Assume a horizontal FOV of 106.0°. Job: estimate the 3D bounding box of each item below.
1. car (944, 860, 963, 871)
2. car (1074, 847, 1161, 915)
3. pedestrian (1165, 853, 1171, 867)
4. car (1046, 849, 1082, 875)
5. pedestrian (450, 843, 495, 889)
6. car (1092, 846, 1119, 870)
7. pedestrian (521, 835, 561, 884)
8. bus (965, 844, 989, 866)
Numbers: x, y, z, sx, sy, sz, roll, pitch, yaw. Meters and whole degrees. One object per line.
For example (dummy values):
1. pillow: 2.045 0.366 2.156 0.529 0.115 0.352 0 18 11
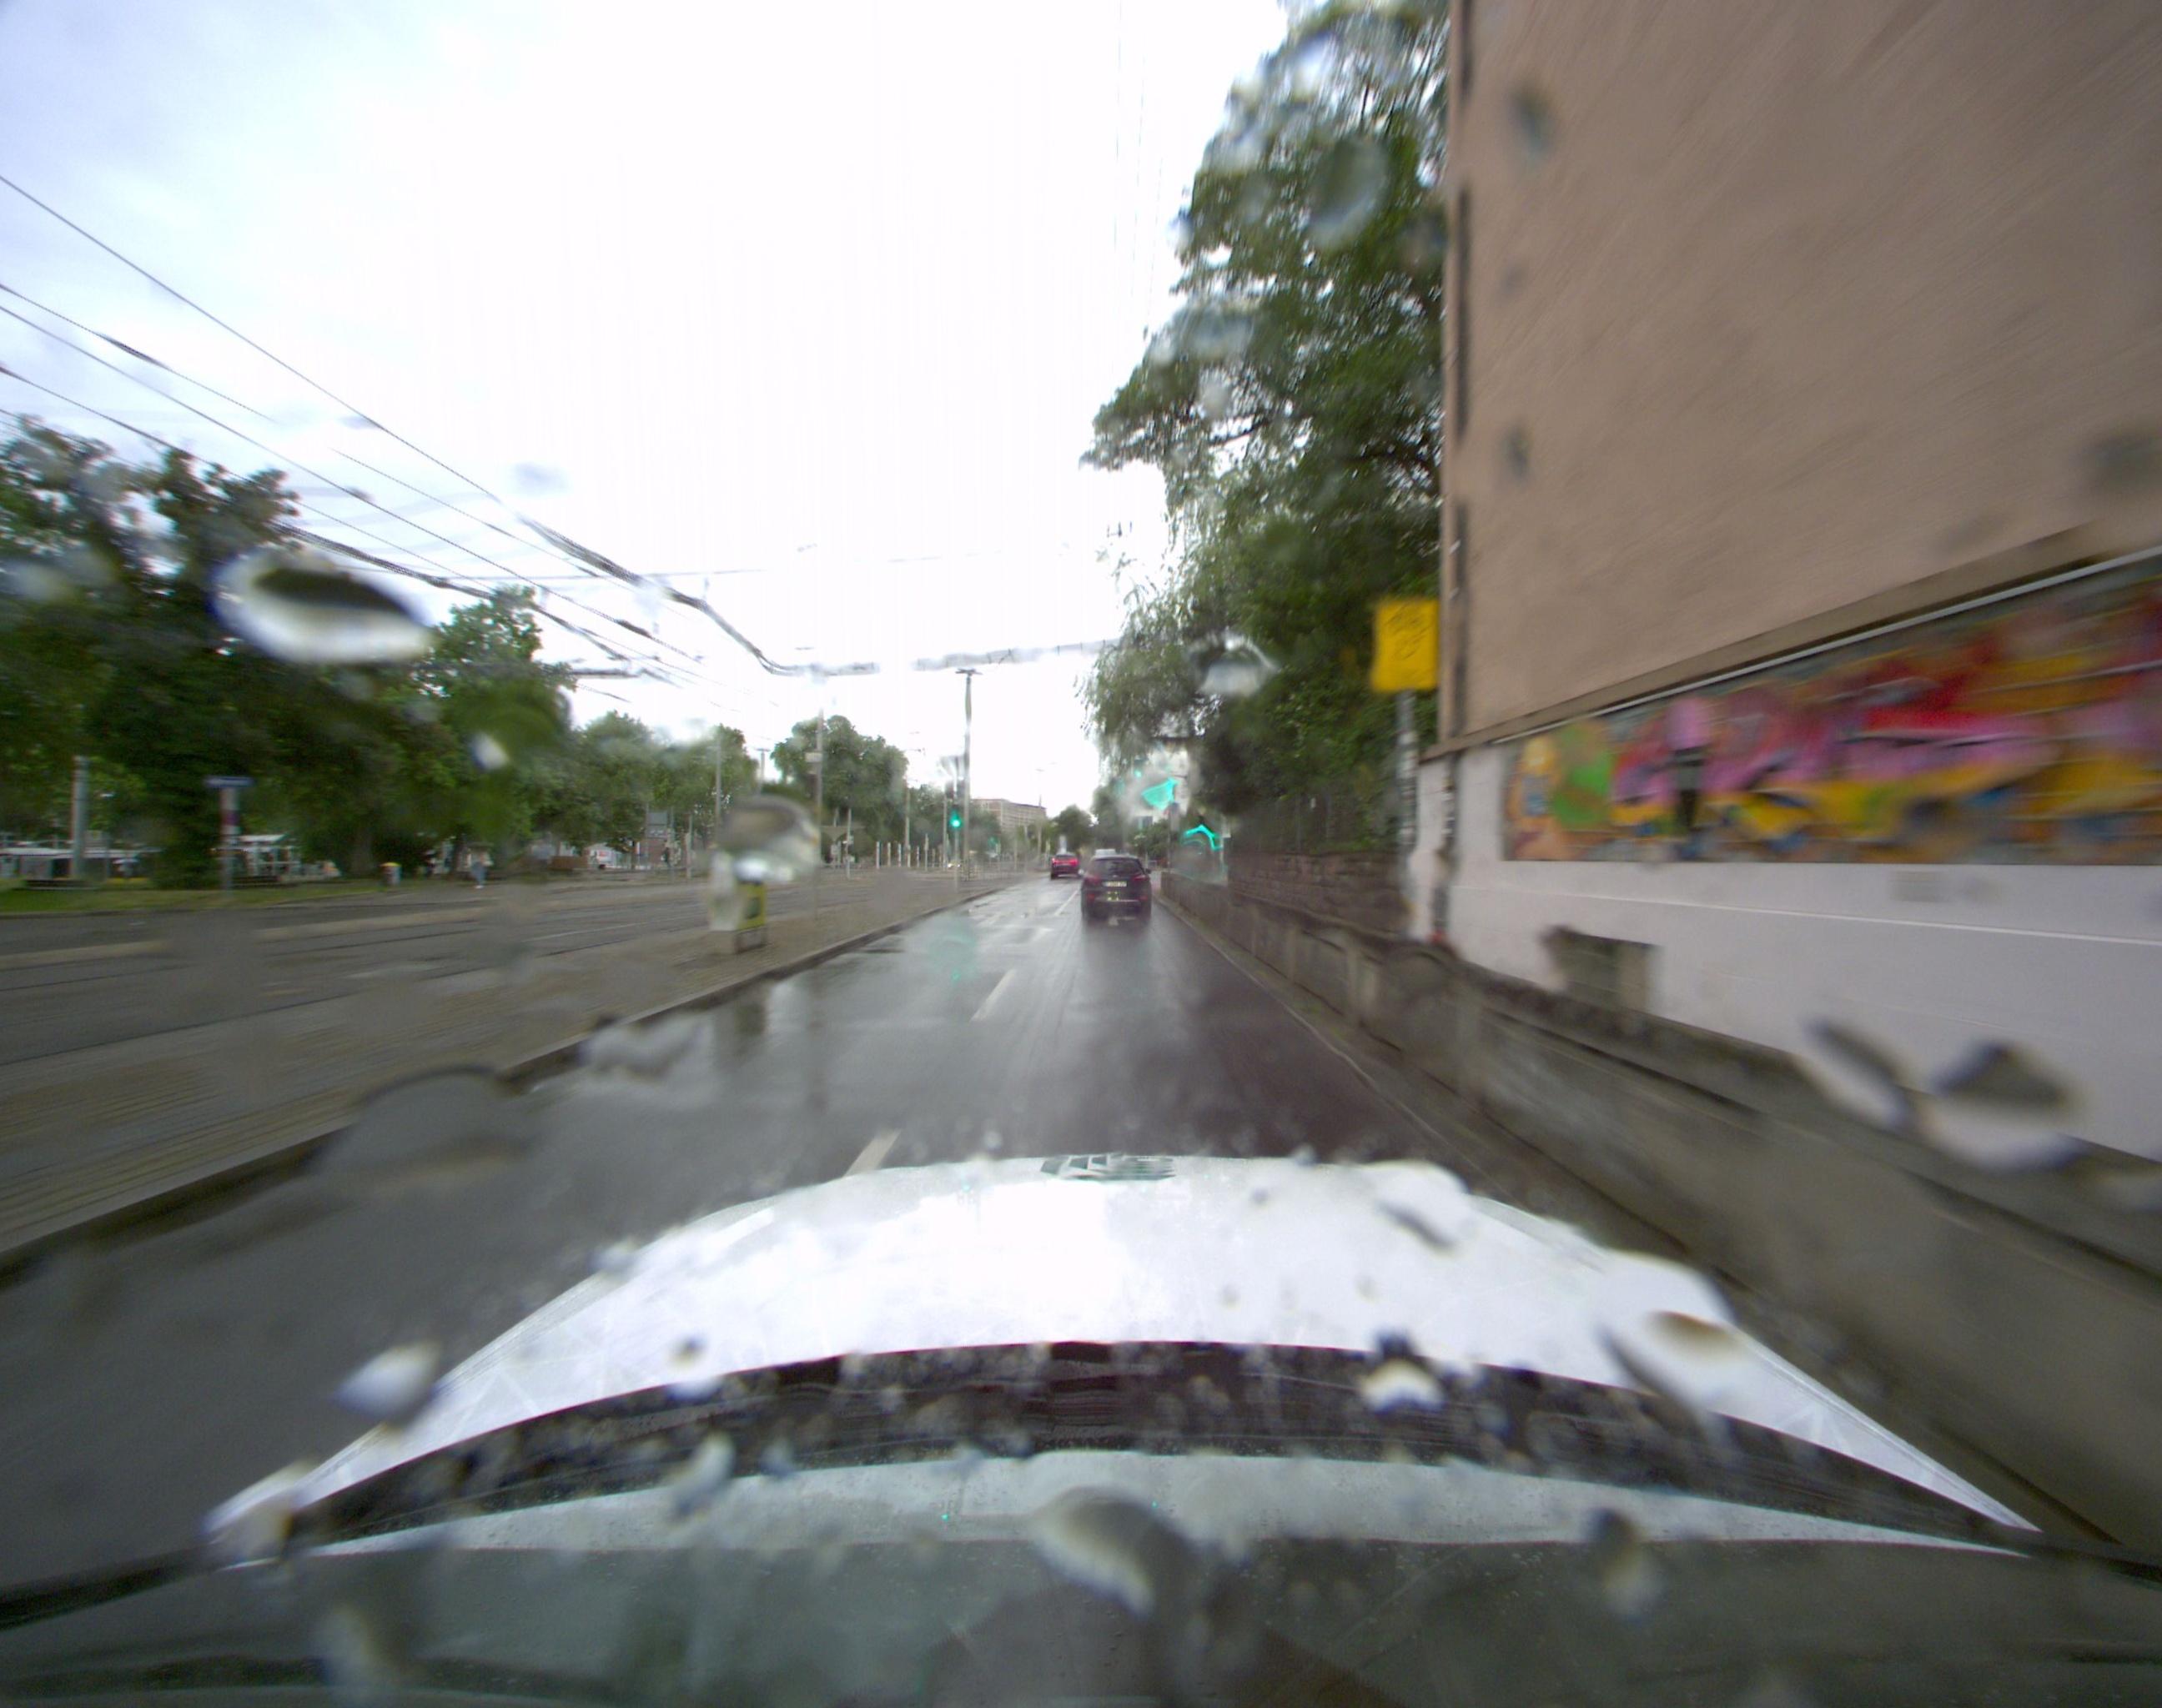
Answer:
1. car: -20.345 1.774 130.132 1.985 1.646 4.539 -1 0 2
2. car: 0.932 0.631 21.429 2.028 1.584 4.394 1 0 2
3. pedestrian: 9.711 0.665 91.307 0.537 1.563 0.524 -1 0 22
4. car: -1.022 0.473 50.027 2.092 1.506 4.729 -1 0 -1
5. pedestrian: -21.910 0.429 29.341 1.002 1.594 0.908 2 0 -16
6. car: 1.961 0.284 63.968 2.027 1.840 4.396 1 0 3
7. pedestrian: -21.443 0.224 32.344 0.990 1.863 0.919 2 0 30
8. bus: -17.069 0.164 134.569 3.071 3.300 12.504 -1 0 -4
